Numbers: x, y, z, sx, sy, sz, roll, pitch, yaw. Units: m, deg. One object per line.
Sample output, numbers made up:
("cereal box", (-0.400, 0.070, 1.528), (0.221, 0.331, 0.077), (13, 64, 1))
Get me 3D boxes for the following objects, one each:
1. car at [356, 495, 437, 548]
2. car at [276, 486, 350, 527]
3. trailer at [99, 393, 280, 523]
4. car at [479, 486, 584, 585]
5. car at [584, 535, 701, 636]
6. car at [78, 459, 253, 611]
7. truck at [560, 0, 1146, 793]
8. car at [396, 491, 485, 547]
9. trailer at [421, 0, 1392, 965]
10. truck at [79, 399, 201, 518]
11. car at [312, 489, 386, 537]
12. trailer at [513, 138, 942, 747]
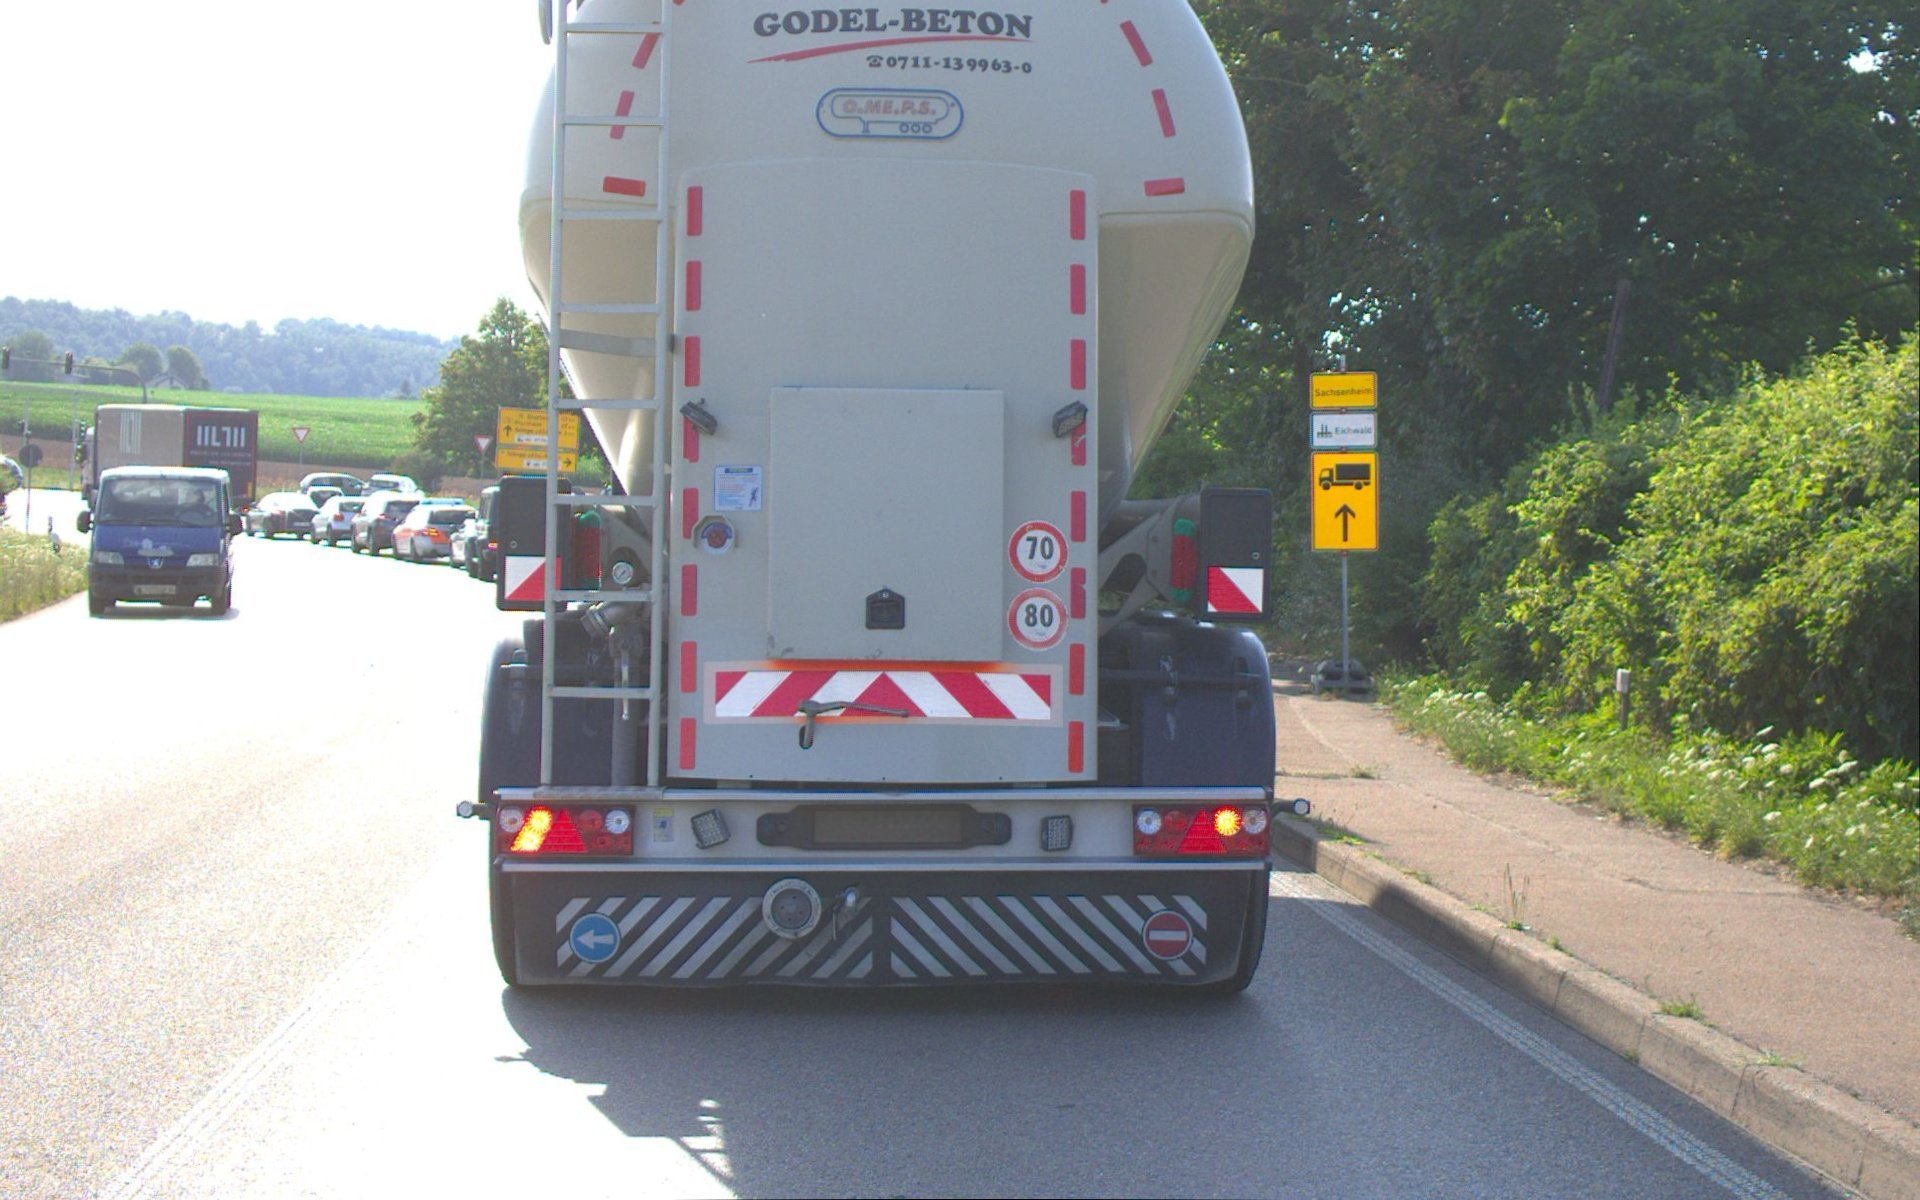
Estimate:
("car", (-15.265, -2.138, 92.994), (1.580, 1.336, 3.427), (2, 1, -19))
("car", (-20.189, -2.933, 107.221), (1.769, 1.201, 3.427), (2, 1, -19))
("trailer", (-28.051, -5.104, 124.436), (3.375, 4.335, 14.297), (1, 1, -25))
("car", (-9.072, -1.374, 72.579), (1.861, 2.007, 3.720), (0, 1, -12))
("car", (-4.585, -0.228, 49.760), (1.580, 1.336, 3.426), (2, 1, -5))
("car", (-11.798, -0.970, 51.337), (1.998, 2.129, 4.780), (1, 1, -7))
("truck", (-0.644, -1.075, 19.384), (2.909, 3.992, 4.060), (1, 1, -3))
("car", (-13.115, -2.049, 86.666), (1.580, 1.336, 3.427), (2, 1, -19))
("trailer", (-0.421, -1.003, 15.364), (2.909, 3.992, 9.932), (1, 1, -3))
("truck", (-31.529, -5.412, 132.043), (3.375, 4.335, 5.707), (1, 1, -25))
("car", (-17.956, -2.564, 100.905), (1.580, 1.336, 3.427), (2, 1, -19))
("trailer", (-1.868, -1.300, 31.947), (2.954, 4.300, 14.177), (2, 1, -2))
